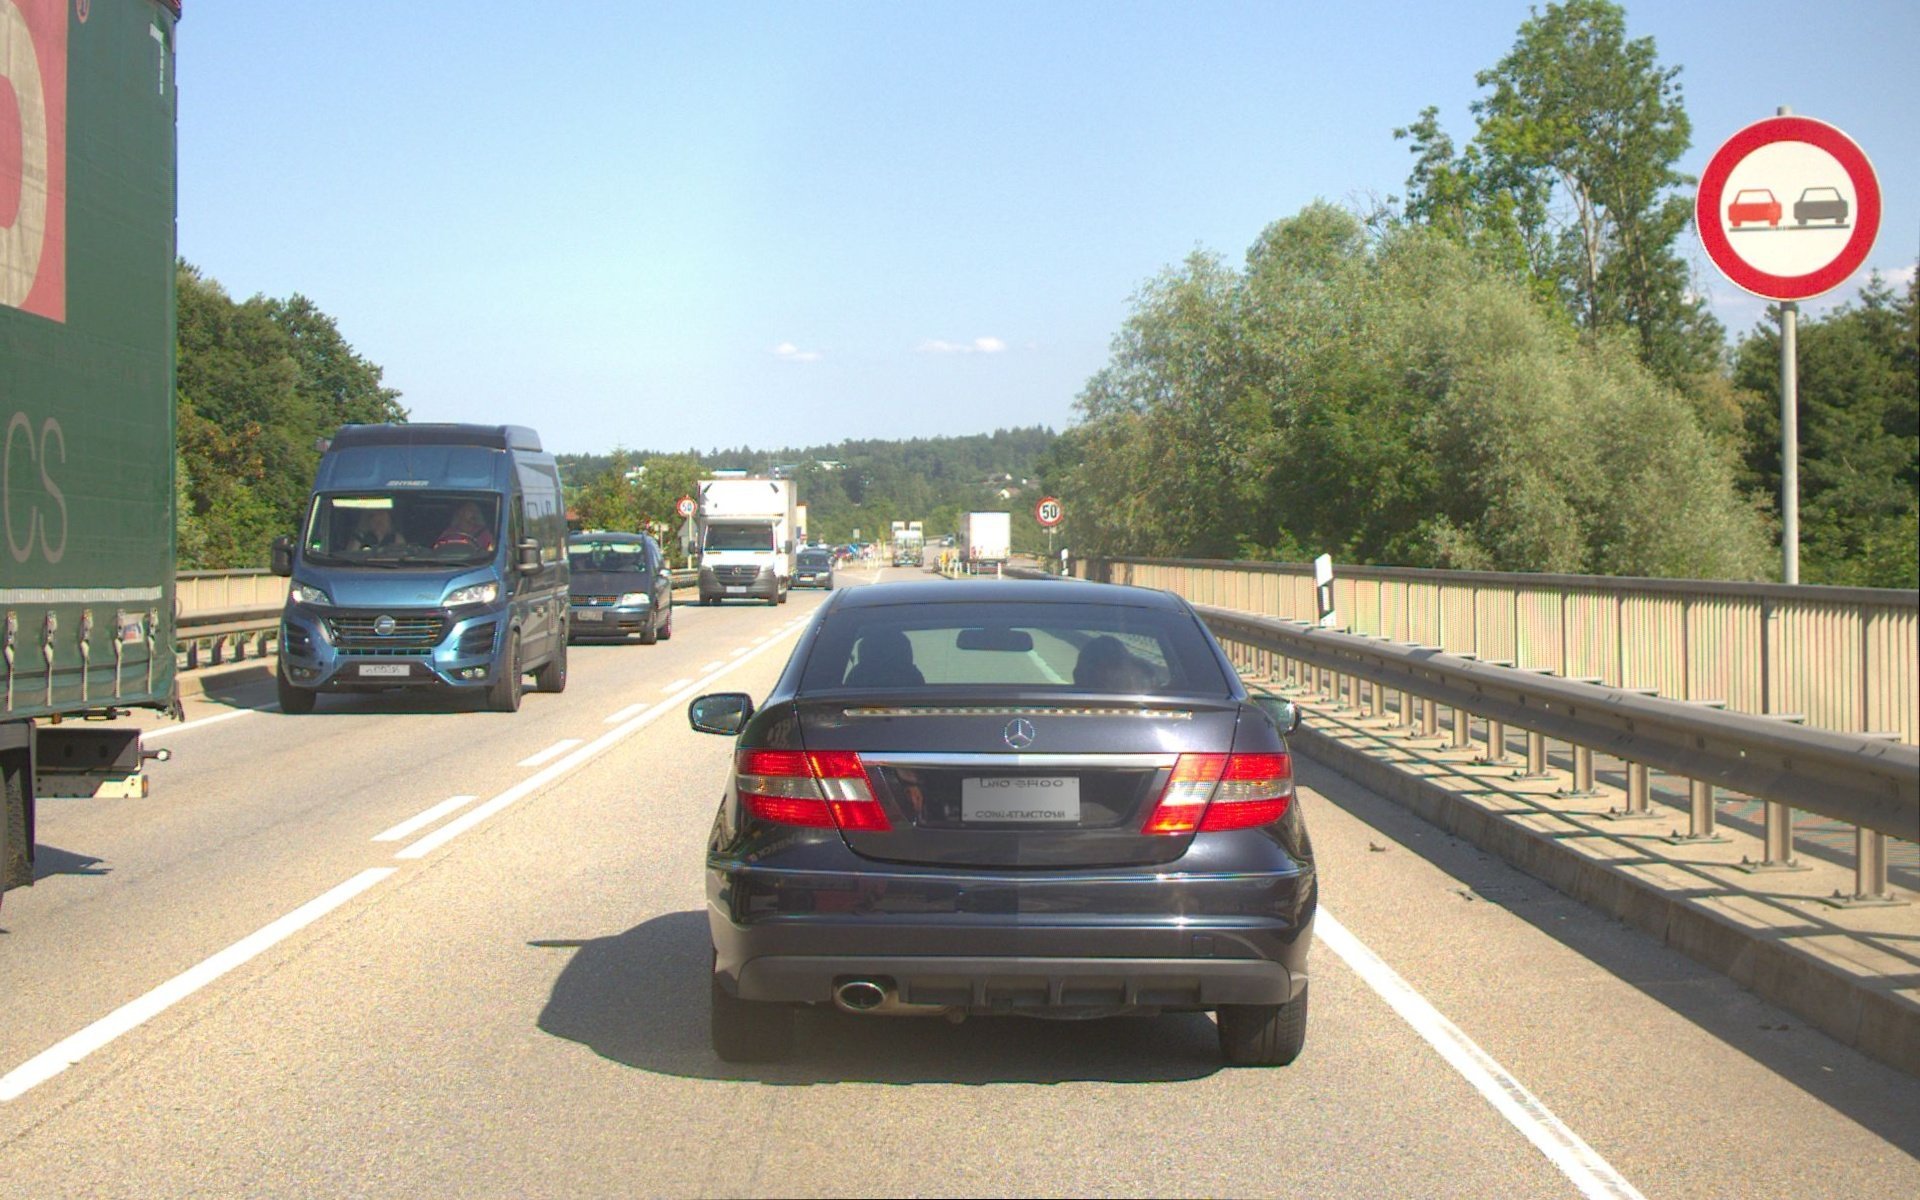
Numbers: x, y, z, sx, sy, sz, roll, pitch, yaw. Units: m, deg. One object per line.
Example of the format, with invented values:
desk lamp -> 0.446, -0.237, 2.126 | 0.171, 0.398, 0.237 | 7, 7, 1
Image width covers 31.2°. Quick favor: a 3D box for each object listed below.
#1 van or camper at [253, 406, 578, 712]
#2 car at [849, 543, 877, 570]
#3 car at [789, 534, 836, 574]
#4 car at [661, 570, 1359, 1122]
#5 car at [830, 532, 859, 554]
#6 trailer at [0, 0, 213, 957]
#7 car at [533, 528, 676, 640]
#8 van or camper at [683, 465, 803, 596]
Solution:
van or camper -> -5.067, -0.416, 32.958 | 2.430, 2.633, 6.405 | 0, 1, -3
car -> -7.388, -3.322, 261.819 | 1.993, 2.007, 4.000 | 0, 1, 0
car -> -5.457, -1.703, 127.193 | 1.659, 1.431, 4.189 | 0, 1, -3
car -> 0.148, 0.619, 10.892 | 1.793, 1.371, 4.000 | 0, 1, 1
car -> -8.312, -4.113, 247.726 | 1.804, 1.601, 3.915 | 0, 1, 2
trailer -> -4.755, -0.836, 8.309 | 2.907, 4.287, 14.303 | 0, 1, -1
car -> -5.416, -0.274, 52.866 | 1.841, 1.636, 4.577 | 0, 1, -2
van or camper -> -5.574, -1.796, 89.350 | 2.635, 3.244, 7.750 | 0, 1, 0
